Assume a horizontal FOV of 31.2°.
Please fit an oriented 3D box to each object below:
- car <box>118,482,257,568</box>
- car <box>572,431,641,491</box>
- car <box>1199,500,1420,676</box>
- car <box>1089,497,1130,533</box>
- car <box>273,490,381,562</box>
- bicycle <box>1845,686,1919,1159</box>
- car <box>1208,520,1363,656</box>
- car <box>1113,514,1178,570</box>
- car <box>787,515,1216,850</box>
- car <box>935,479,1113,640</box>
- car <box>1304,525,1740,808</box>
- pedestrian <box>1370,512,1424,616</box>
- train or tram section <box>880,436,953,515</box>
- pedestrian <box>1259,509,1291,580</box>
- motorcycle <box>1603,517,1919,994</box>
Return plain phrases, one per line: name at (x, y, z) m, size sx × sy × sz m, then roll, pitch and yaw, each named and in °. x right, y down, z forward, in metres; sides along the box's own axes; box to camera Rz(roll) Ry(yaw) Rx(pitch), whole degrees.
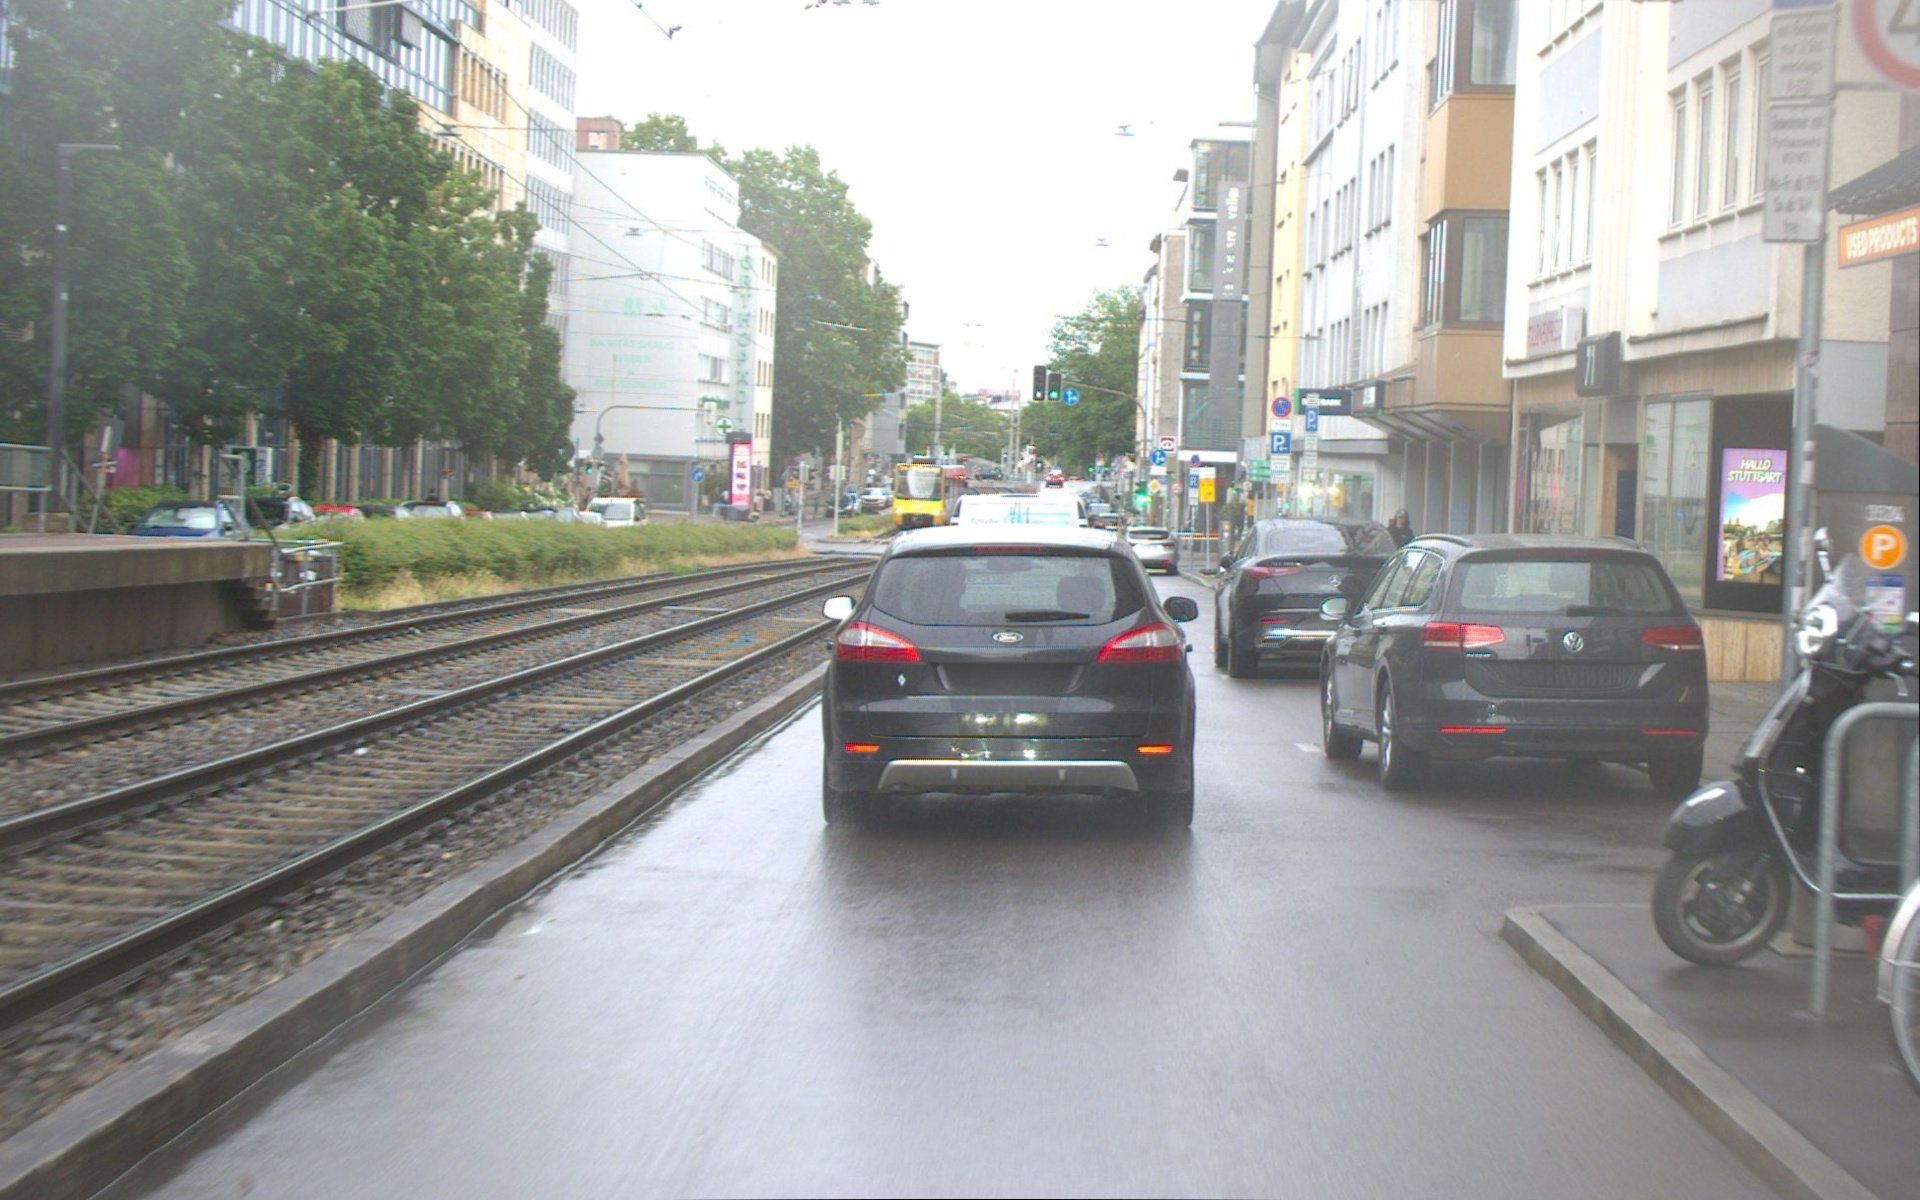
car at (-13.554, -1.322, 60.519) m, size 1.568 × 1.431 × 4.178 m, roll 2°, pitch 1°, yaw -2°
car at (-11.978, -4.699, 116.668) m, size 1.906 × 1.858 × 4.574 m, roll 2°, pitch 1°, yaw -2°
car at (3.514, -0.167, 35.394) m, size 1.807 × 1.626 × 5.169 m, roll 2°, pitch 1°, yaw 1°
car at (7.334, -4.150, 168.893) m, size 1.907 × 1.627 × 4.573 m, roll 2°, pitch 1°, yaw 3°
car at (-13.226, -1.550, 72.005) m, size 1.568 × 1.431 × 4.178 m, roll 2°, pitch 1°, yaw -2°
bicycle at (2.978, 0.741, 7.812) m, size 1.786 × 1.027 × 0.462 m, roll 2°, pitch 1°, yaw 1°
car at (3.767, -0.170, 40.204) m, size 1.557 × 1.471 × 3.565 m, roll 2°, pitch 1°, yaw 2°
car at (5.738, -1.793, 106.868) m, size 1.907 × 1.627 × 4.573 m, roll 2°, pitch 1°, yaw 3°
car at (0.246, 0.355, 17.401) m, size 1.906 × 1.457 × 3.445 m, roll 2°, pitch 1°, yaw 2°
car at (0.866, -0.509, 43.375) m, size 1.907 × 1.858 × 4.573 m, roll 2°, pitch 1°, yaw 5°
car at (3.250, 0.307, 20.761) m, size 1.774 × 1.463 × 4.610 m, roll 2°, pitch 1°, yaw -1°
pedestrian at (7.034, -0.585, 55.355) m, size 0.695 × 1.646 × 0.966 m, roll 2°, pitch 1°, yaw 1°
train or tram section at (-2.231, -6.245, 174.268) m, size 3.513 × 3.764 × 11.333 m, roll 2°, pitch 1°, yaw -1°
pedestrian at (6.931, -1.227, 75.574) m, size 0.611 × 1.532 × 0.649 m, roll 2°, pitch 1°, yaw 1°
motorcycle at (3.114, 0.476, 10.601) m, size 2.086 × 1.402 × 0.798 m, roll 2°, pitch 1°, yaw 20°
